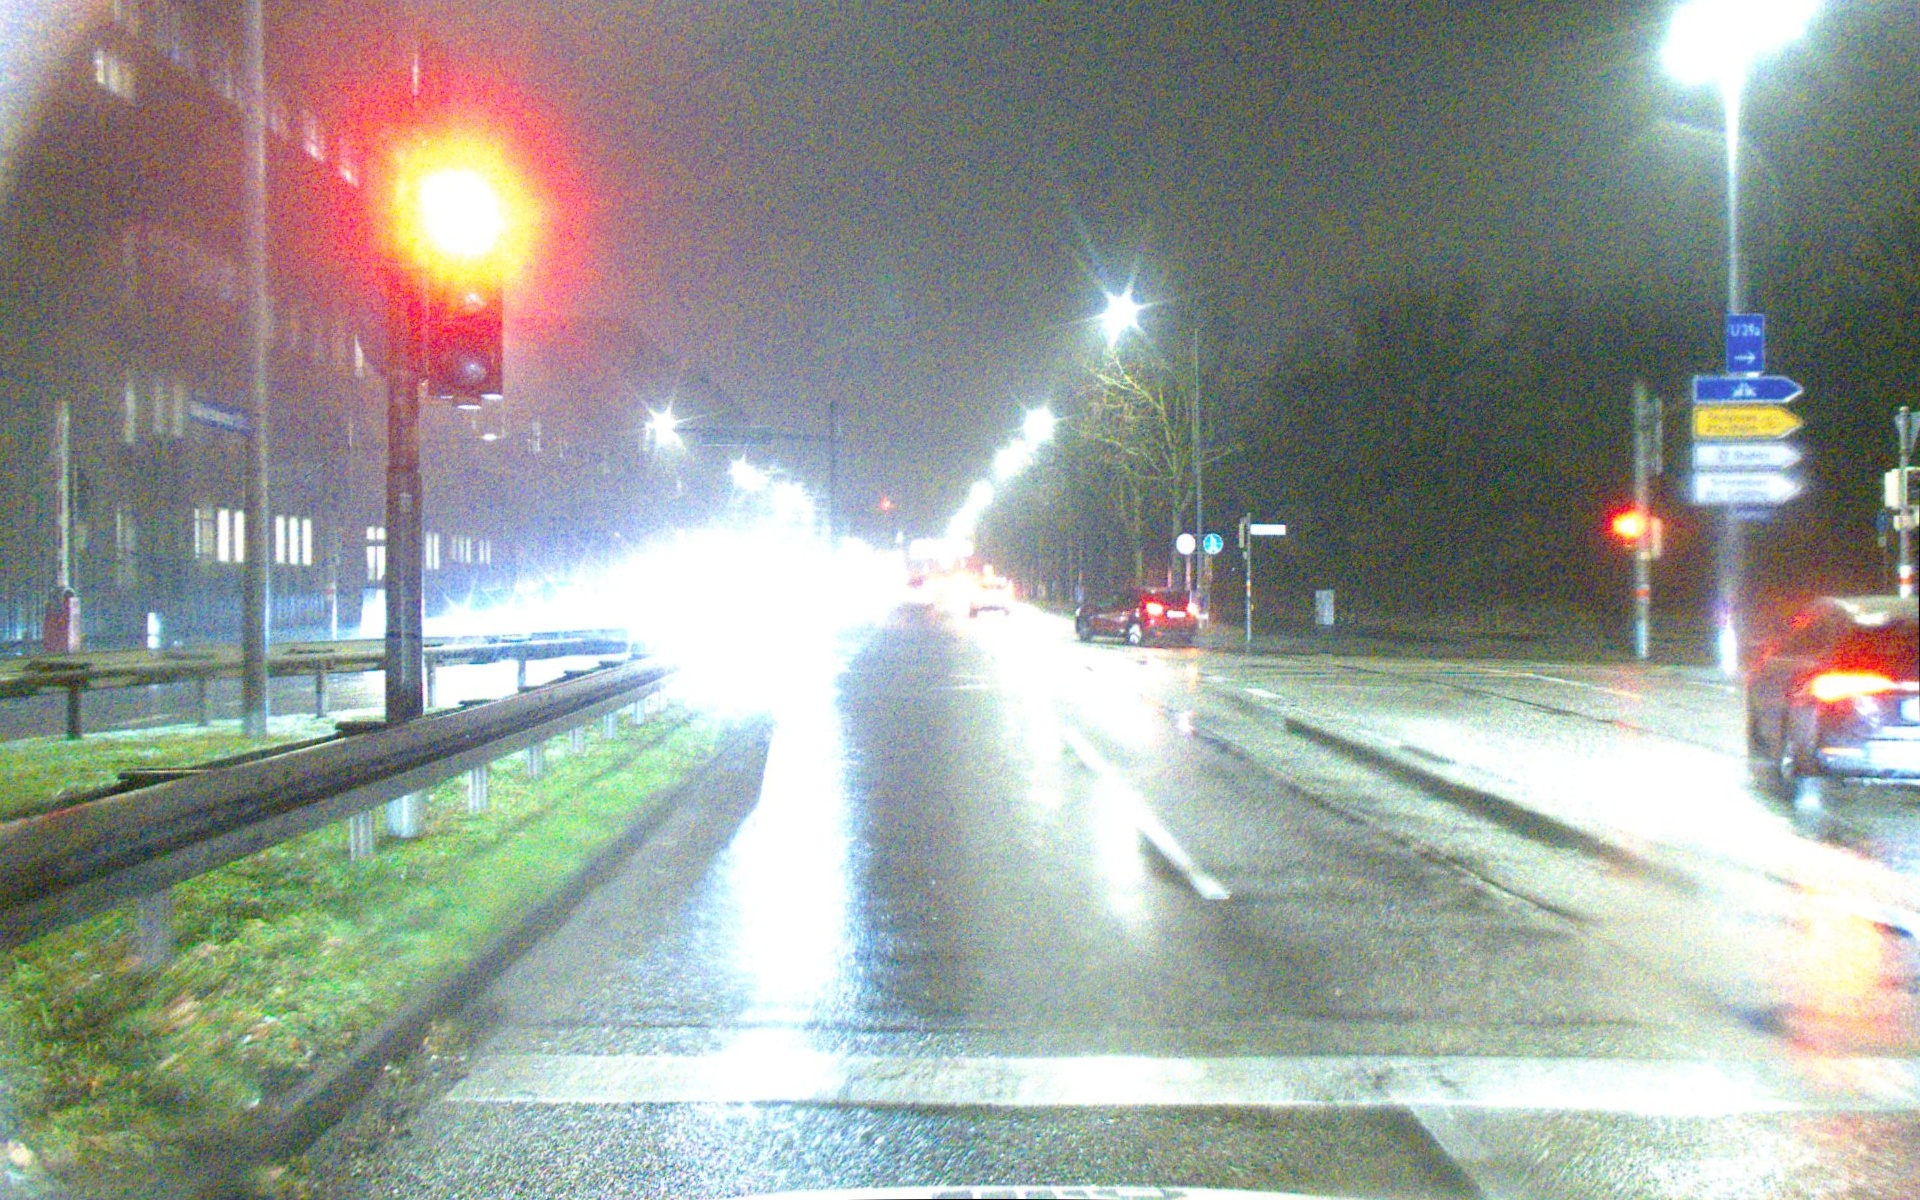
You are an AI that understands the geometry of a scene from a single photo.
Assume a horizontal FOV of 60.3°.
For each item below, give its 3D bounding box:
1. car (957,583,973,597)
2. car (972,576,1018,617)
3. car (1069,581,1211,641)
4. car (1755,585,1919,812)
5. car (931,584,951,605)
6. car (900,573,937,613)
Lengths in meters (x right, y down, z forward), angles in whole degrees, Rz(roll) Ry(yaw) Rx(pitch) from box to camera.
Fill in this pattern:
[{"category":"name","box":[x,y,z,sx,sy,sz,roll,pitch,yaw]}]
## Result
[{"category":"car","box":[0.639,-1.299,220.903,1.953,1.790,3.999,1,0,-1]},{"category":"car","box":[1.540,-0.145,73.812,1.755,1.708,4.426,1,0,-3]},{"category":"car","box":[4.759,0.274,44.267,1.770,1.513,4.115,1,0,-28]},{"category":"car","box":[7.474,0.690,13.137,1.800,1.504,4.627,1,0,22]},{"category":"car","box":[-1.792,-0.480,153.172,1.755,1.907,4.625,1,0,-2]},{"category":"car","box":[-2.040,-0.345,82.009,1.755,1.907,4.625,1,0,-2]}]
